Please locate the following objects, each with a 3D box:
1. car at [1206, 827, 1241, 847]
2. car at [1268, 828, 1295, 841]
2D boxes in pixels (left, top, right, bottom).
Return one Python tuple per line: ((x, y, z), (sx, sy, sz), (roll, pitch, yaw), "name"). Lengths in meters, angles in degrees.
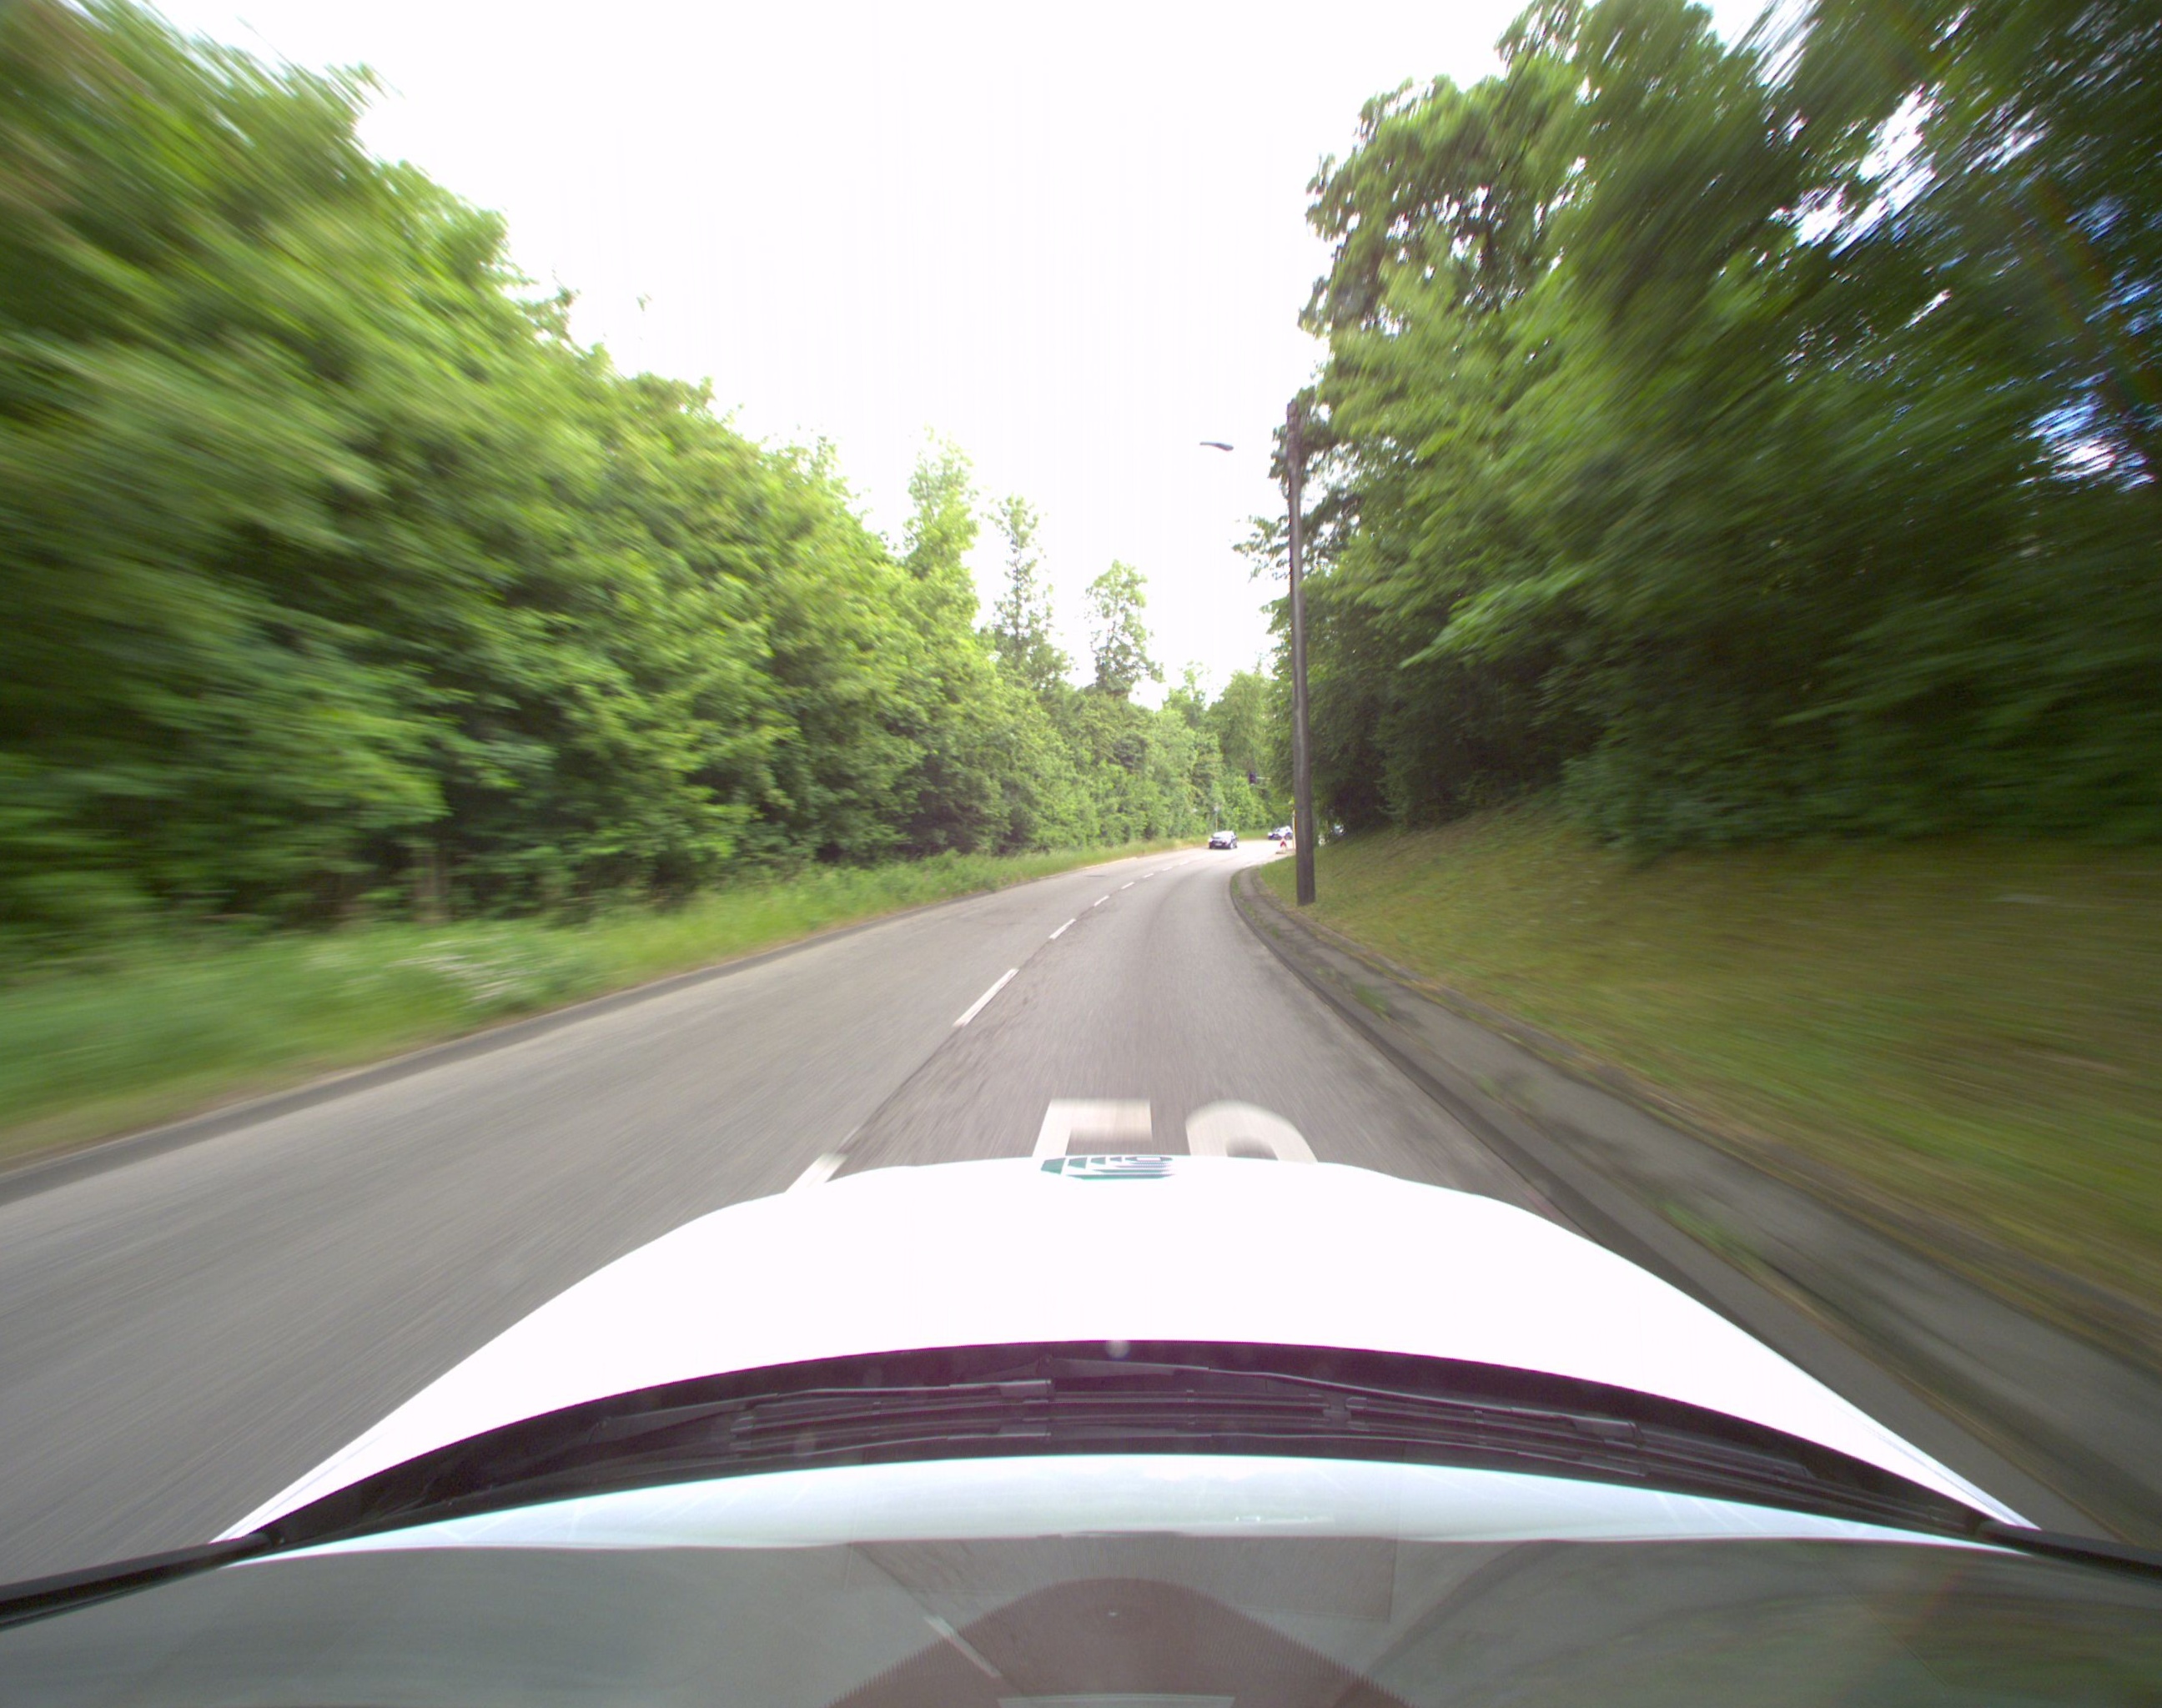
((11.422, -1.370, 65.053), (1.787, 1.434, 4.686), (2, 2, 23), "car")
((21.850, -2.135, 88.548), (1.881, 1.354, 4.871), (2, 2, 26), "car")
